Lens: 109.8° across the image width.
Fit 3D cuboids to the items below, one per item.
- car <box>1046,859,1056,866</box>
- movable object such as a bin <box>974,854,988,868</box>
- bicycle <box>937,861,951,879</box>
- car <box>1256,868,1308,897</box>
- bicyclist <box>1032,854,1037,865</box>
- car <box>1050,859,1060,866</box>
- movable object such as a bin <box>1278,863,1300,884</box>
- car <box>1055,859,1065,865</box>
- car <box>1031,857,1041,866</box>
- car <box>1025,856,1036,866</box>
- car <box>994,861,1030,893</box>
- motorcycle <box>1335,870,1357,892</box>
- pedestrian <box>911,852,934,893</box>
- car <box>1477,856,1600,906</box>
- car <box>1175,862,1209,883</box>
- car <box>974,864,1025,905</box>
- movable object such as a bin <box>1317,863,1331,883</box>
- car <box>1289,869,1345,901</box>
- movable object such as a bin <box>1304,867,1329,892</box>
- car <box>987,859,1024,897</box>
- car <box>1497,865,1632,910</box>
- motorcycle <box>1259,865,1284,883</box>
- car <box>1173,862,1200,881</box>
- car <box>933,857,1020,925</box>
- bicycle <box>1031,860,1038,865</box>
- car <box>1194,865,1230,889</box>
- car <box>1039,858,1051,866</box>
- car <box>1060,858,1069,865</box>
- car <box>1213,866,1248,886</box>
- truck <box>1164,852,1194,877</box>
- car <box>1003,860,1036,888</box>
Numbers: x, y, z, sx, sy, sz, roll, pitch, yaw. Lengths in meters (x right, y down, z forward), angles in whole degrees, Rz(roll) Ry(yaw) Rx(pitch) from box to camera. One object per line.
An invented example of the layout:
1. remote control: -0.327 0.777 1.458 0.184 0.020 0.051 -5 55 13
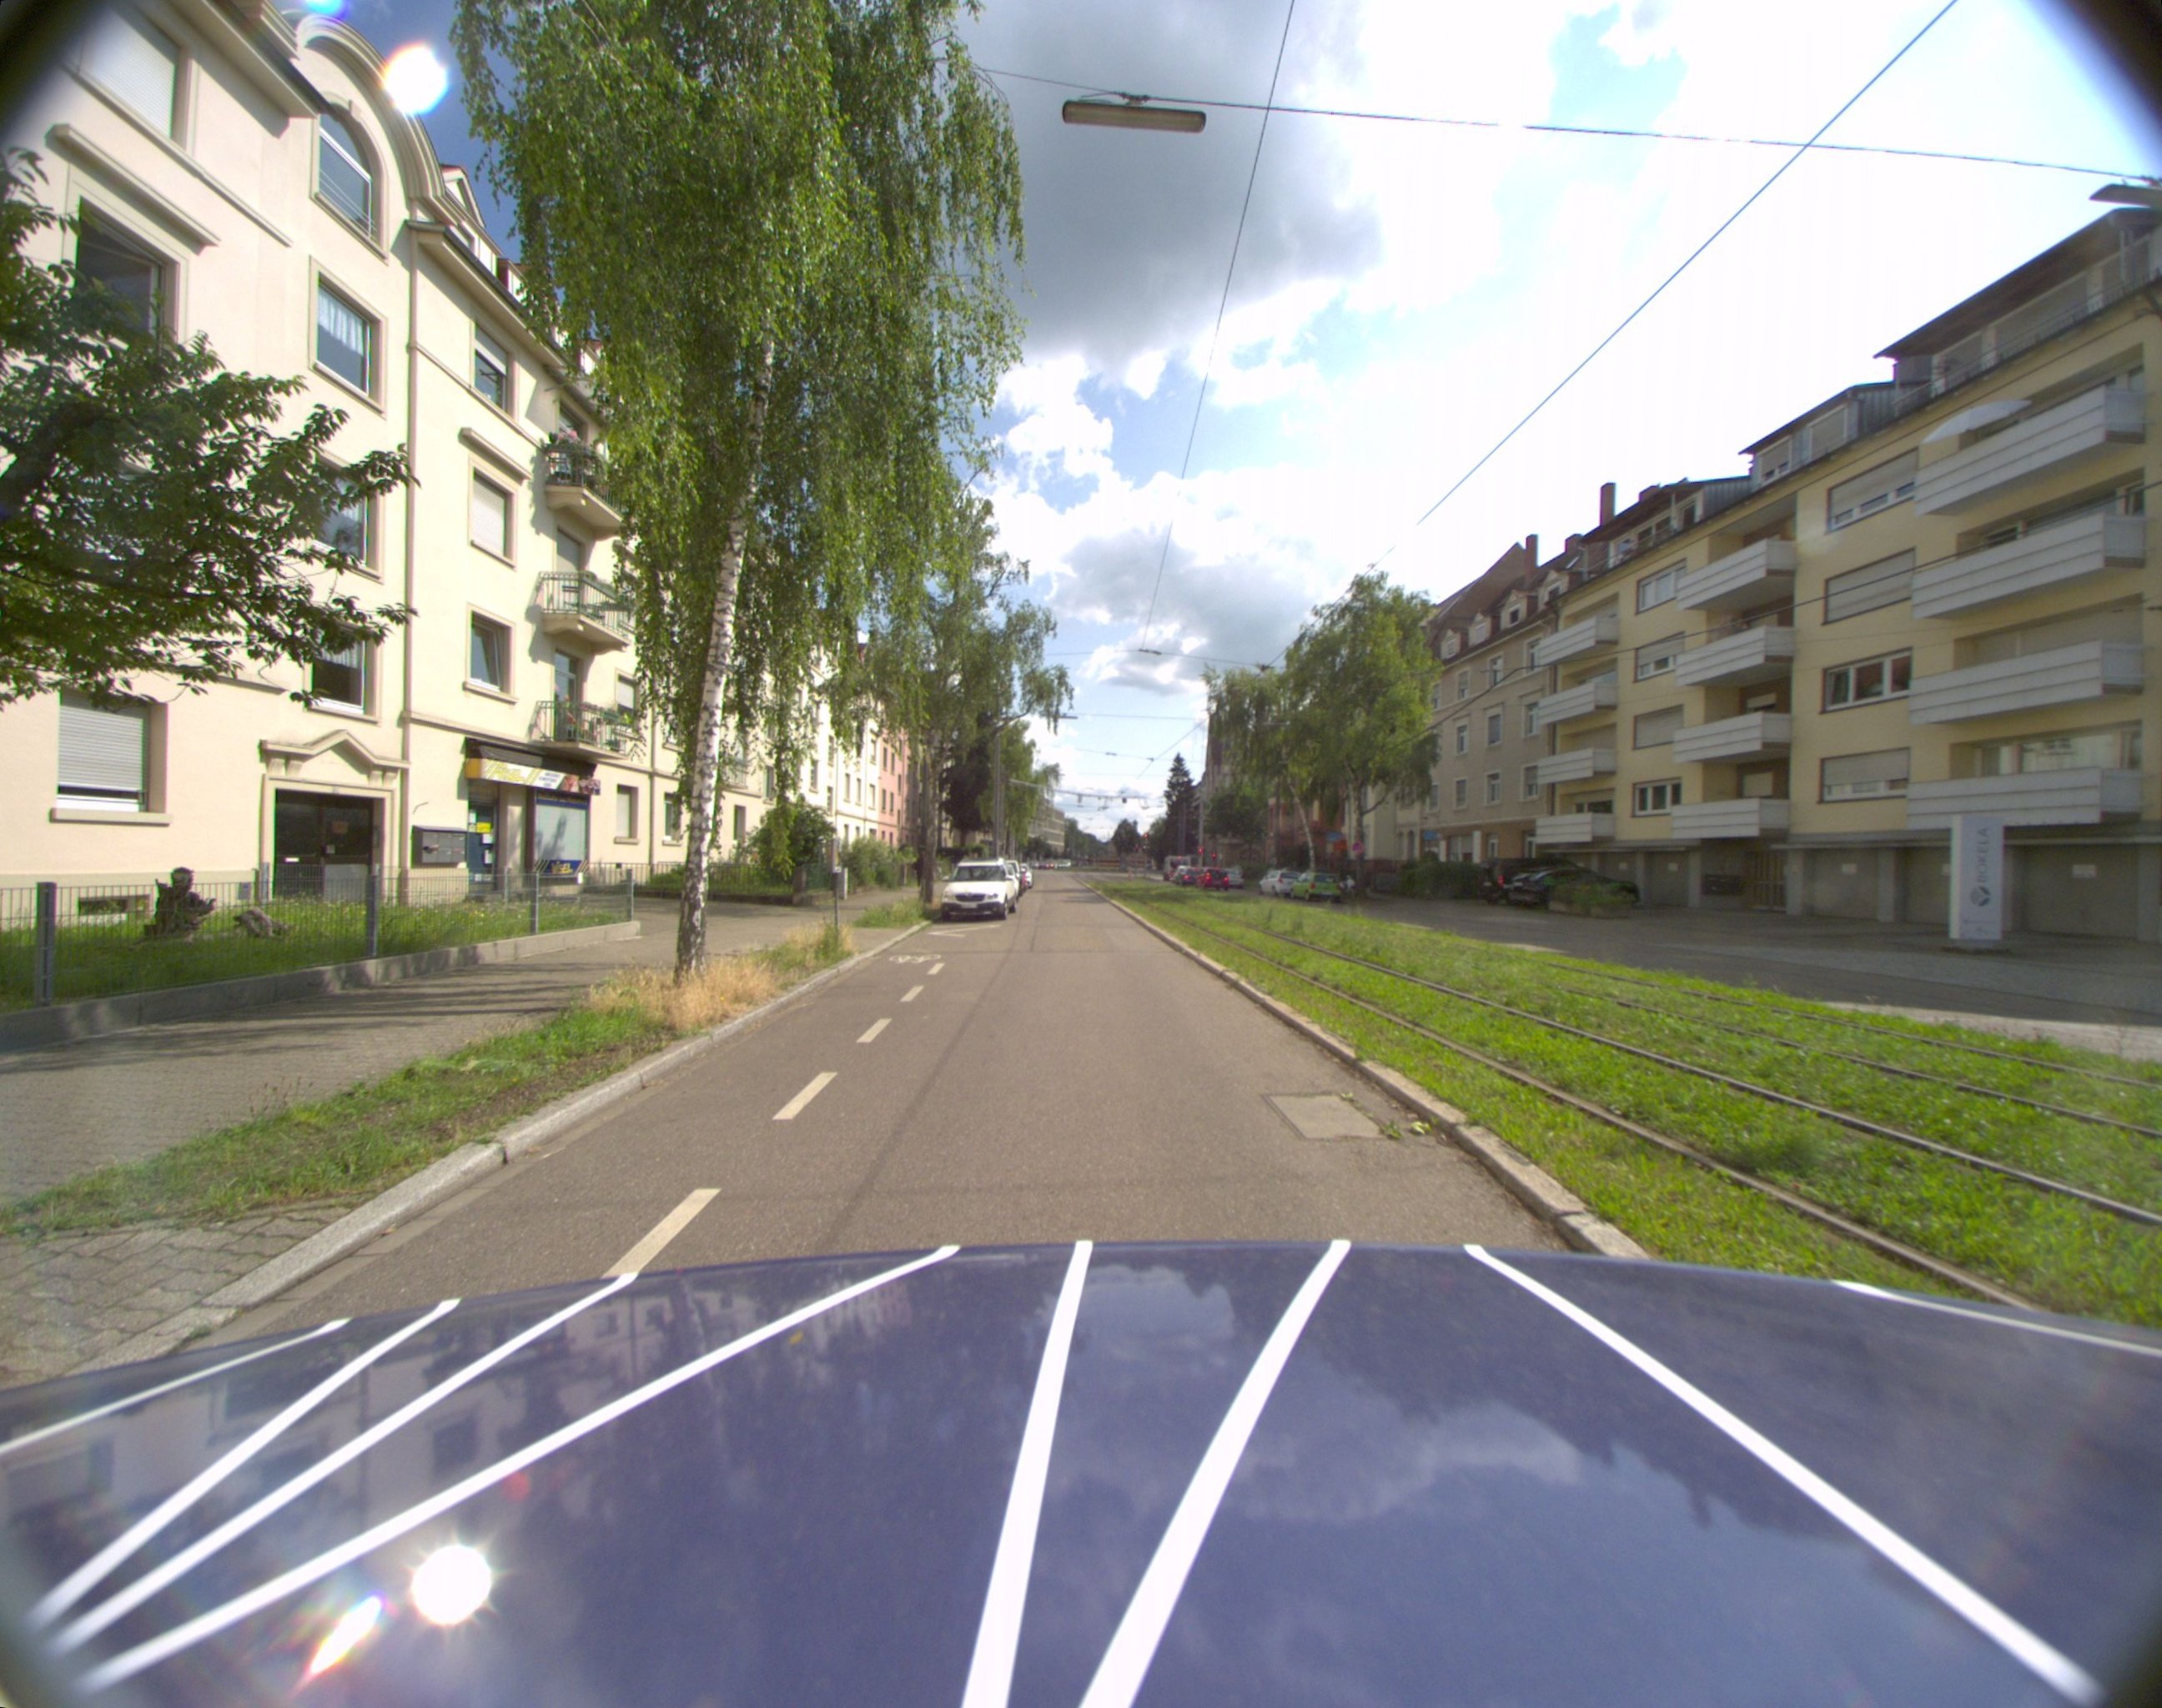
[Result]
1. car: -5.427 1.533 137.100 1.620 1.265 4.000 0 0 2
2. movable object such as a bin: -11.234 0.775 85.743 1.305 1.483 2.000 1 0 -1
3. bicycle: -8.429 0.968 46.869 0.473 1.071 2.182 1 0 -1
4. car: 11.339 1.578 43.077 1.649 1.469 4.225 3 0 -1
5. bicyclist: -7.359 0.919 120.457 0.665 1.679 0.857 2 0 3
6. car: -4.917 1.555 145.112 1.620 1.265 4.000 0 0 2
7. movable object such as a bin: 13.900 1.302 50.785 0.953 1.359 1.521 -4 0 -3
8. car: -4.183 1.611 152.459 1.620 1.265 4.000 0 0 2
9. car: -8.719 1.477 147.436 1.836 1.674 3.999 1 0 -2
10. car: -9.294 1.310 139.177 1.999 1.730 3.999 1 0 -3
11. car: -3.511 1.152 39.418 1.593 1.444 3.843 -2 0 -2
12. motorcycle: 13.846 1.419 39.763 0.500 1.036 1.632 -2 1 -2
13. pedestrian: -6.702 0.769 32.126 0.731 1.673 0.691 3 0 1
14. car: 19.150 1.117 31.955 3.996 2.002 1.937 -1 0 1
15. car: 8.170 1.360 56.308 1.759 1.348 4.511 3 0 0
16. car: -3.108 1.125 29.594 1.677 1.408 3.794 -2 0 -3
17. movable object such as a bin: 16.860 1.328 52.696 0.675 1.354 0.699 1 0 -5
18. car: 11.687 1.507 37.843 1.598 1.423 3.614 2 0 -1
19. movable object such as a bin: 13.707 1.464 44.254 0.953 1.421 1.521 -1 0 -3
20. car: -3.358 1.014 34.185 1.498 1.570 3.758 -1 0 -3
21. car: 18.668 1.273 29.446 3.998 1.593 1.972 -1 0 -2
22. motorcycle: 13.420 1.378 53.566 0.903 1.235 2.293 1 0 -8
23. car: 8.679 1.421 62.676 1.759 1.406 4.134 3 0 2
24. car: -2.719 0.924 20.659 1.725 1.620 4.000 -1 0 1
25. bicycle: -7.387 1.344 120.297 0.771 0.885 1.892 1 0 4
26. car: 8.443 1.472 49.104 1.583 1.378 3.692 2 0 -1
27. car: -6.091 1.298 129.320 1.741 1.313 4.000 -1 0 2
28. car: -3.539 1.661 165.019 1.739 1.570 4.001 2 0 2
29. car: 11.029 1.593 56.263 1.759 1.348 3.994 2 0 0
30. truck: 9.214 0.992 72.241 2.190 2.201 6.613 2 0 2
31. car: -3.503 1.109 43.832 1.624 1.444 3.917 -2 0 -2
